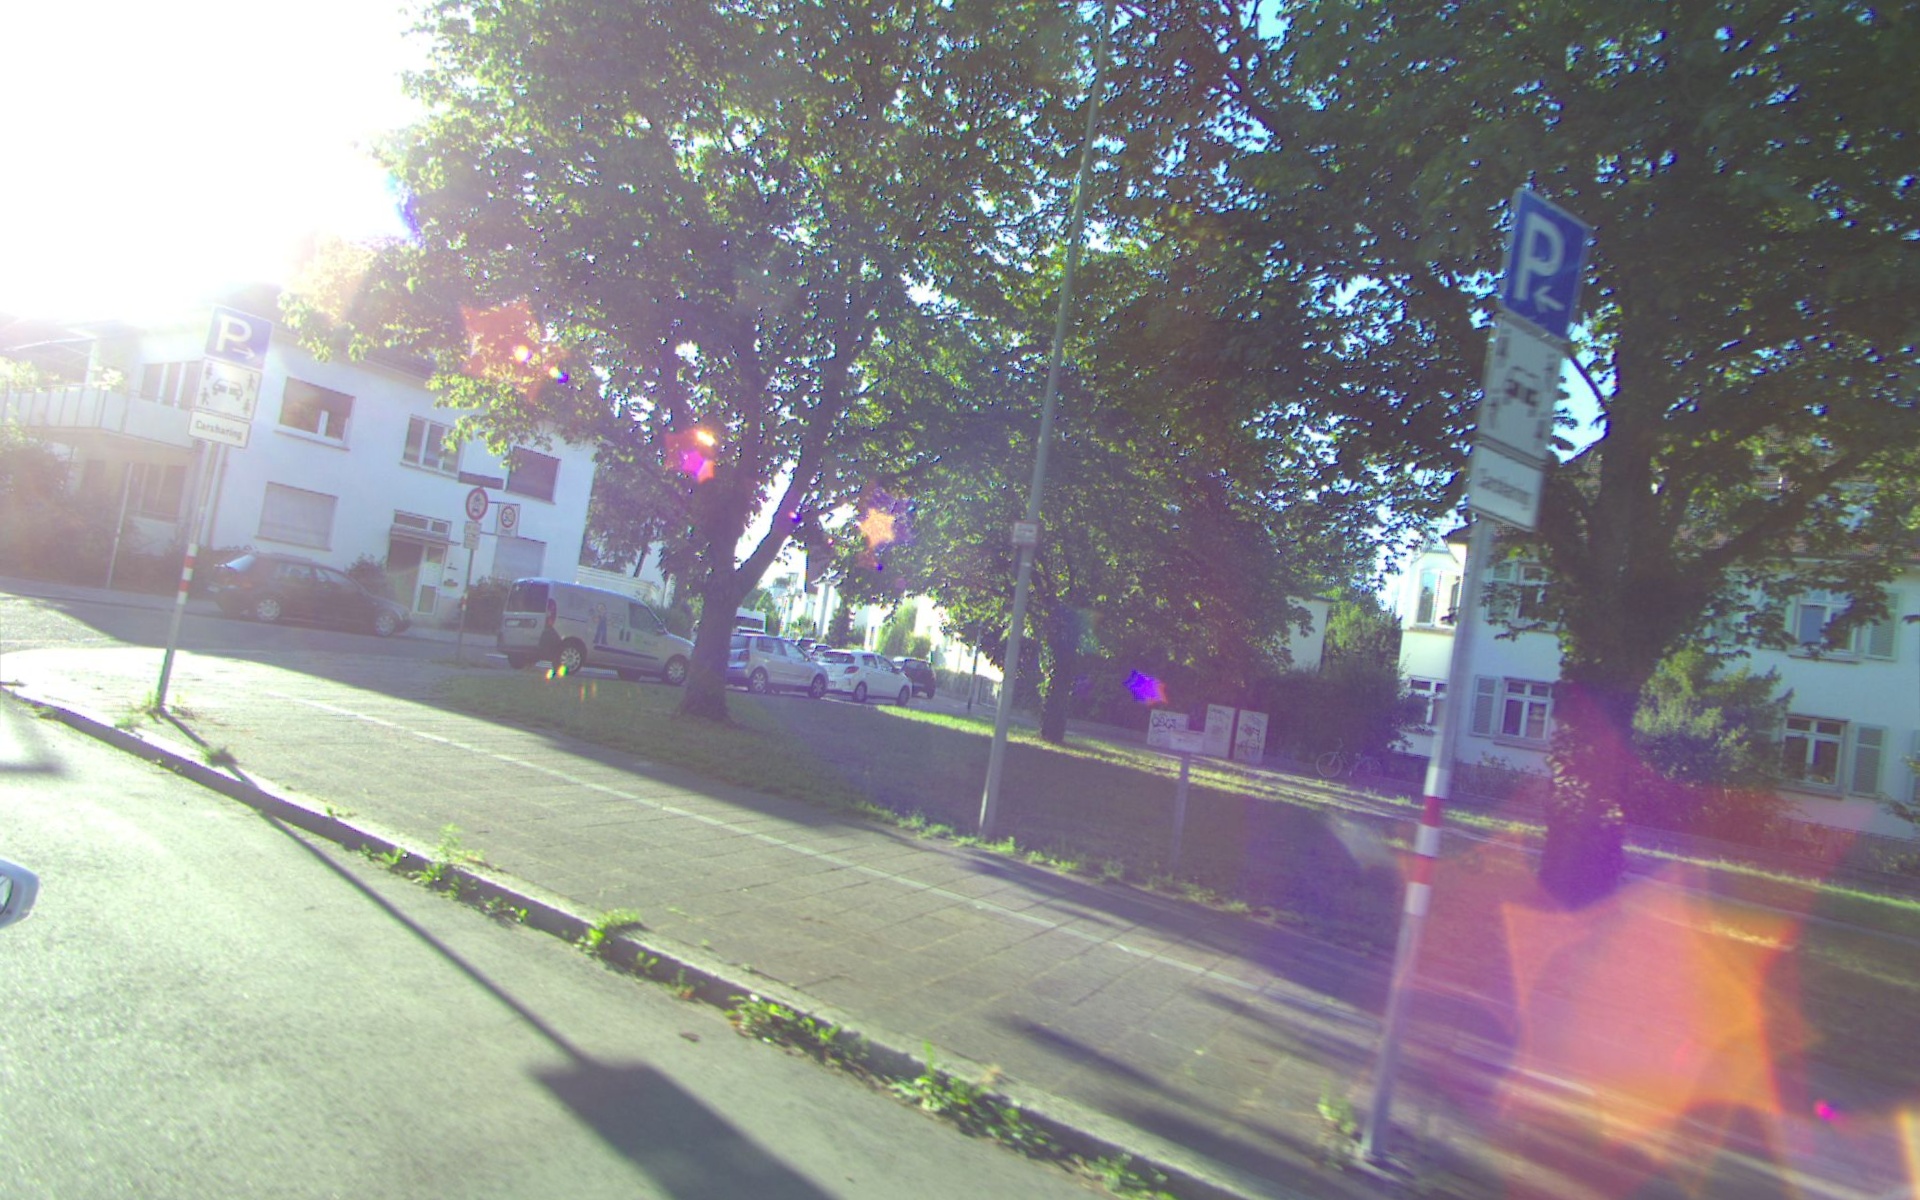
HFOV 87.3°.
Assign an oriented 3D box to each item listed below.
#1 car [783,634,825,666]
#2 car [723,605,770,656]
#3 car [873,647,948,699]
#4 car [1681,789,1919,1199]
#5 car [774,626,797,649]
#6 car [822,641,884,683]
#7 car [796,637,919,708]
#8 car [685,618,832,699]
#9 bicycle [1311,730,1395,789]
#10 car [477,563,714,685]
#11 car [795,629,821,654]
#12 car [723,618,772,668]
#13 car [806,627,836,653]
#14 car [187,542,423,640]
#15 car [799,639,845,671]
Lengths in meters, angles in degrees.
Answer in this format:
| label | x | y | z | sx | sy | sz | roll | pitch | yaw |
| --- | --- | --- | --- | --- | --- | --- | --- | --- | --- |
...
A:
| label | x | y | z | sx | sy | sz | roll | pitch | yaw |
| --- | --- | --- | --- | --- | --- | --- | --- | --- | --- |
| car | -11.029 | 3.511 | 70.706 | 1.906 | 1.872 | 3.989 | 11 | -6 | -19 |
| car | -11.992 | 1.785 | 56.278 | 2.081 | 2.359 | 4.516 | 11 | -6 | -13 |
| car | -2.072 | 2.952 | 41.124 | 1.972 | 1.568 | 3.989 | 10 | -3 | -16 |
| car | 3.344 | 1.327 | 0.662 | 4.464 | 1.525 | 1.733 | 7 | -6 | 31 |
| car | -15.243 | 3.306 | 87.764 | 1.545 | 1.605 | 3.360 | 11 | -6 | -11 |
| car | -5.357 | 3.056 | 50.083 | 1.973 | 1.586 | 4.094 | 10 | -3 | -19 |
| car | -2.905 | 2.168 | 29.437 | 1.497 | 1.538 | 3.939 | 6 | -6 | 28 |
| car | -4.962 | 1.521 | 25.258 | 1.577 | 1.531 | 3.568 | 7 | -4 | 27 |
| bicycle | 10.591 | 4.295 | 27.156 | 1.922 | 1.250 | 0.451 | 6 | -5 | 32 |
| car | -7.653 | 0.588 | 21.531 | 1.997 | 1.894 | 4.254 | 6 | -5 | 32 |
| car | -15.448 | 4.228 | 102.166 | 1.970 | 2.032 | 3.998 | 11 | -6 | -12 |
| car | -10.529 | 2.191 | 49.908 | 1.969 | 2.032 | 3.999 | 11 | -6 | -11 |
| car | -12.898 | 3.726 | 93.375 | 1.971 | 2.032 | 3.995 | 11 | -6 | -14 |
| car | -14.637 | -0.148 | 22.717 | 1.688 | 1.461 | 4.000 | 6 | -5 | 32 |
| car | -9.027 | 3.565 | 65.549 | 1.975 | 1.737 | 3.818 | 12 | -6 | -20 |
